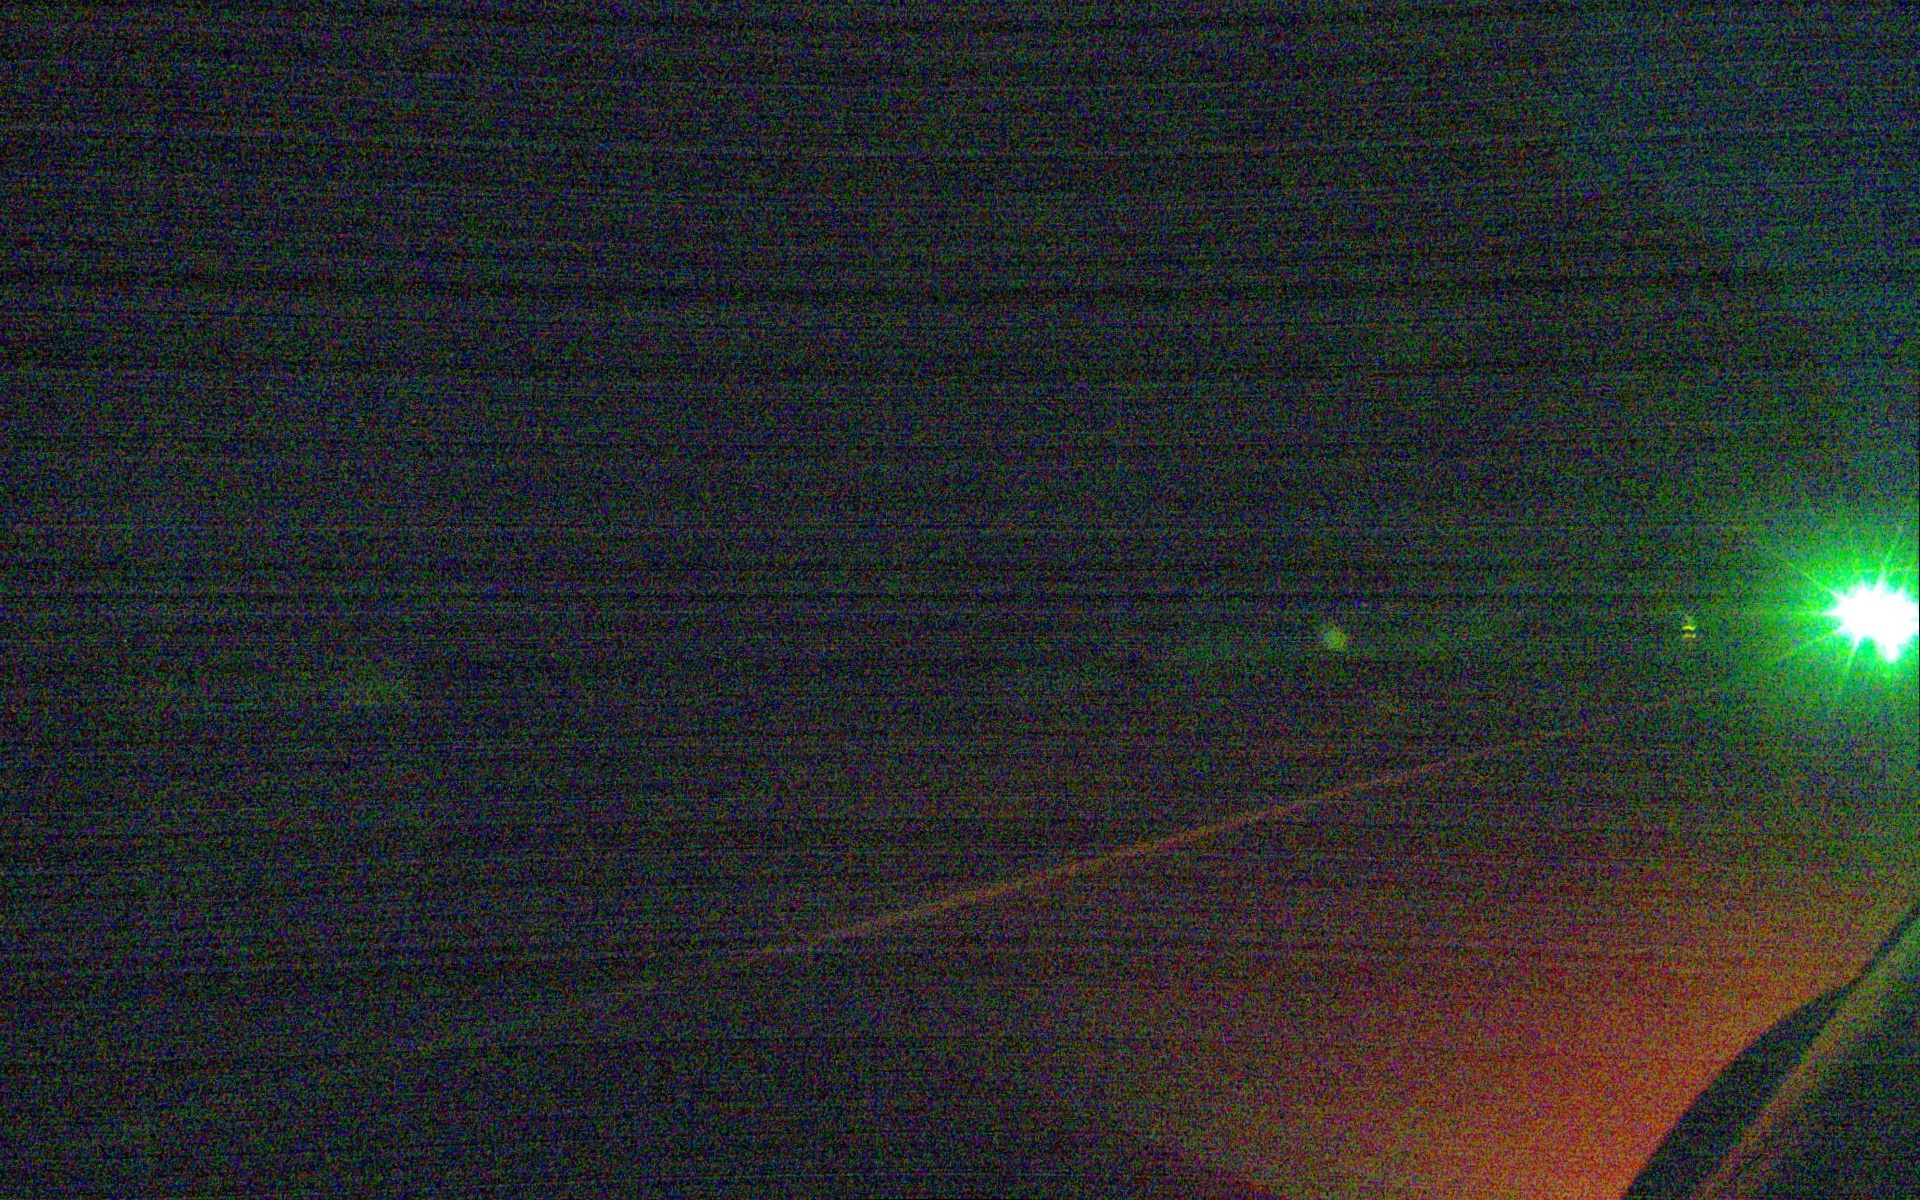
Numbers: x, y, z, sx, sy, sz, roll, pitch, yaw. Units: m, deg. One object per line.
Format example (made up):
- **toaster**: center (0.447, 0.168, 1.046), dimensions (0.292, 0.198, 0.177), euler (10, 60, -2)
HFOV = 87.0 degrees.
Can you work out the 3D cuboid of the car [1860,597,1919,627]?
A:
- **car**: center (64.129, 0.822, 69.764), dimensions (1.980, 1.878, 3.962), euler (-4, -3, 26)
